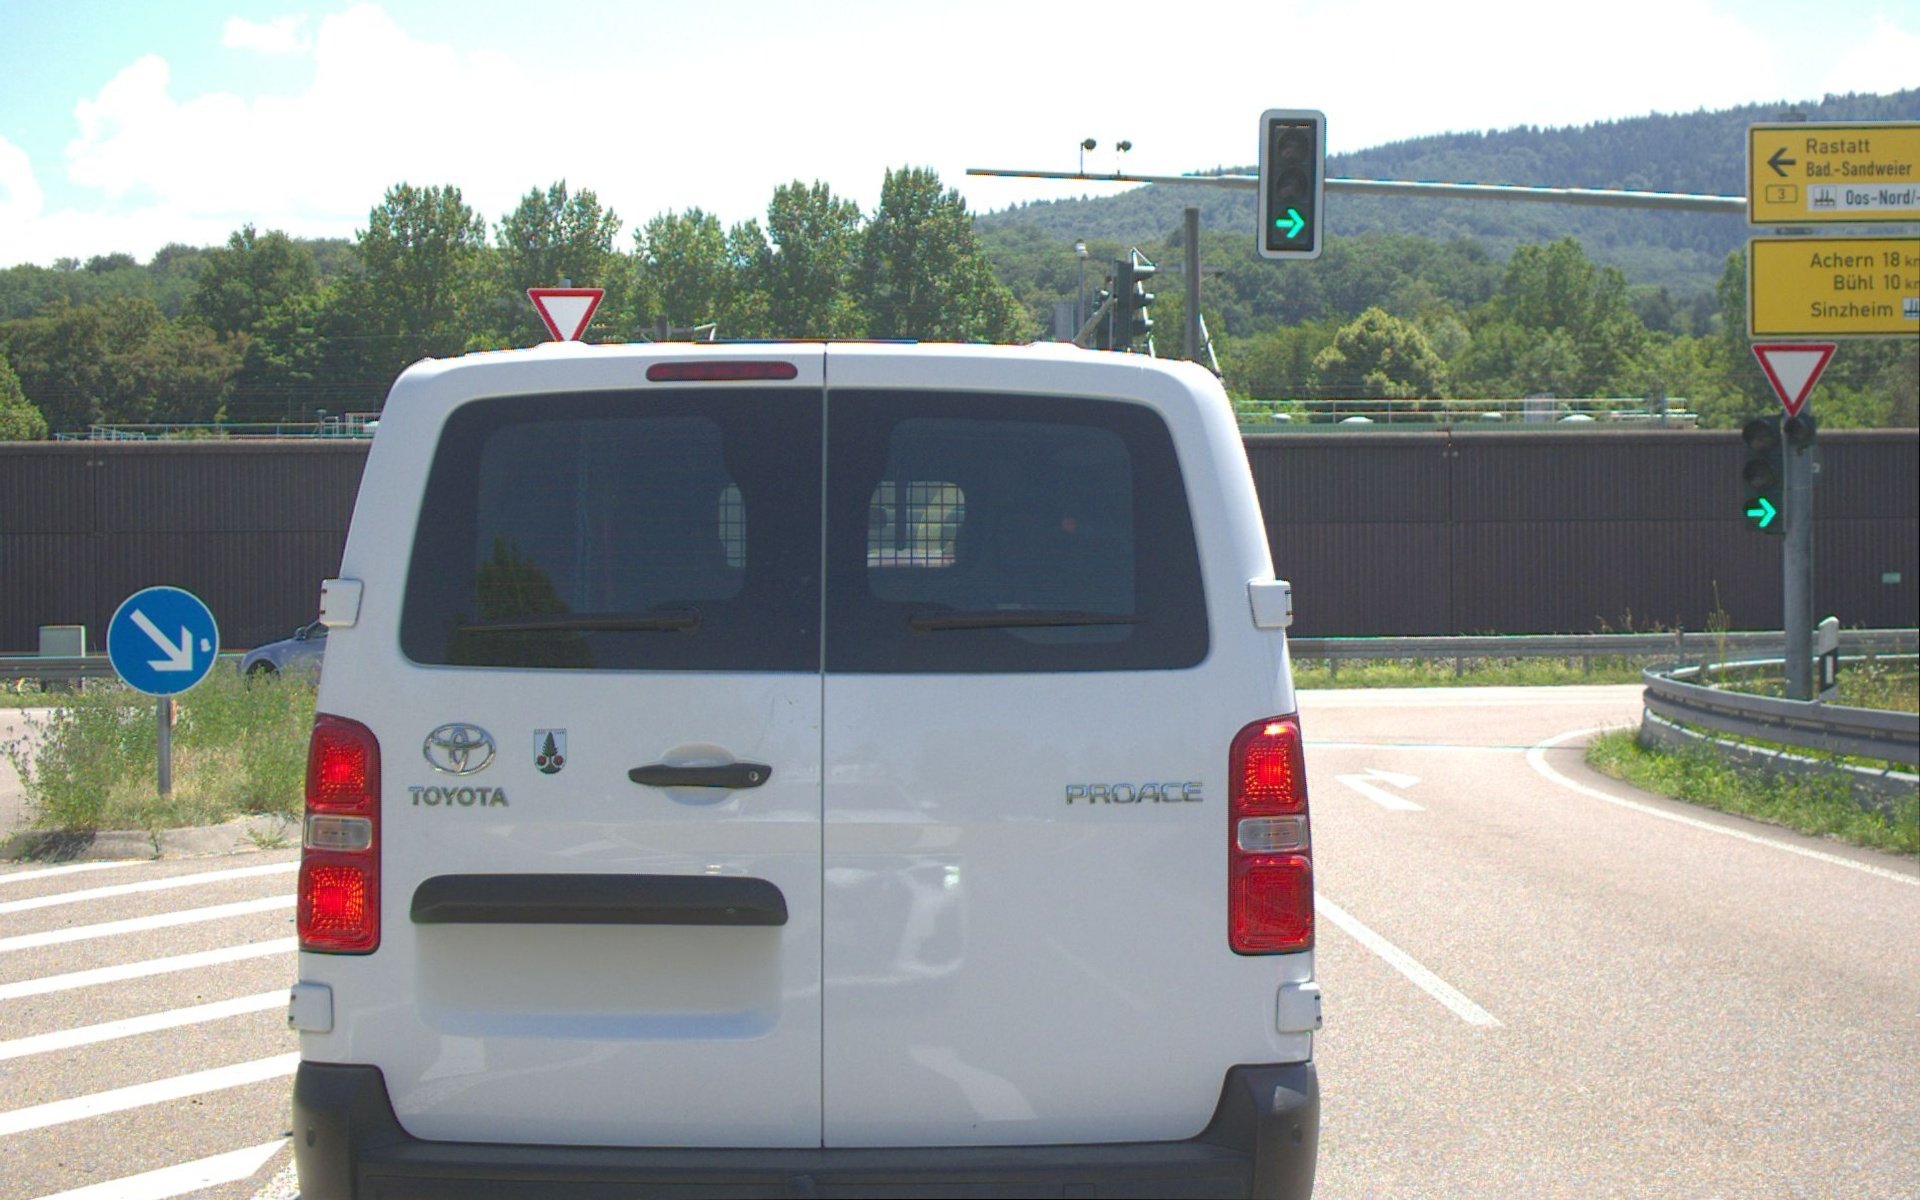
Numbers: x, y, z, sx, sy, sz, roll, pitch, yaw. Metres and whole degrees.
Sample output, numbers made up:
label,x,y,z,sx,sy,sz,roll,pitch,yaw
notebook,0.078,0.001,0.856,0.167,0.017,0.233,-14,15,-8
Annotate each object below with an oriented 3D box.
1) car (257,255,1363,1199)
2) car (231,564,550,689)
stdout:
label,x,y,z,sx,sy,sz,roll,pitch,yaw
car,-0.272,0.424,7.650,1.814,2.011,4.000,0,0,-1
car,-7.442,0.313,44.751,3.996,1.547,1.995,0,0,40
